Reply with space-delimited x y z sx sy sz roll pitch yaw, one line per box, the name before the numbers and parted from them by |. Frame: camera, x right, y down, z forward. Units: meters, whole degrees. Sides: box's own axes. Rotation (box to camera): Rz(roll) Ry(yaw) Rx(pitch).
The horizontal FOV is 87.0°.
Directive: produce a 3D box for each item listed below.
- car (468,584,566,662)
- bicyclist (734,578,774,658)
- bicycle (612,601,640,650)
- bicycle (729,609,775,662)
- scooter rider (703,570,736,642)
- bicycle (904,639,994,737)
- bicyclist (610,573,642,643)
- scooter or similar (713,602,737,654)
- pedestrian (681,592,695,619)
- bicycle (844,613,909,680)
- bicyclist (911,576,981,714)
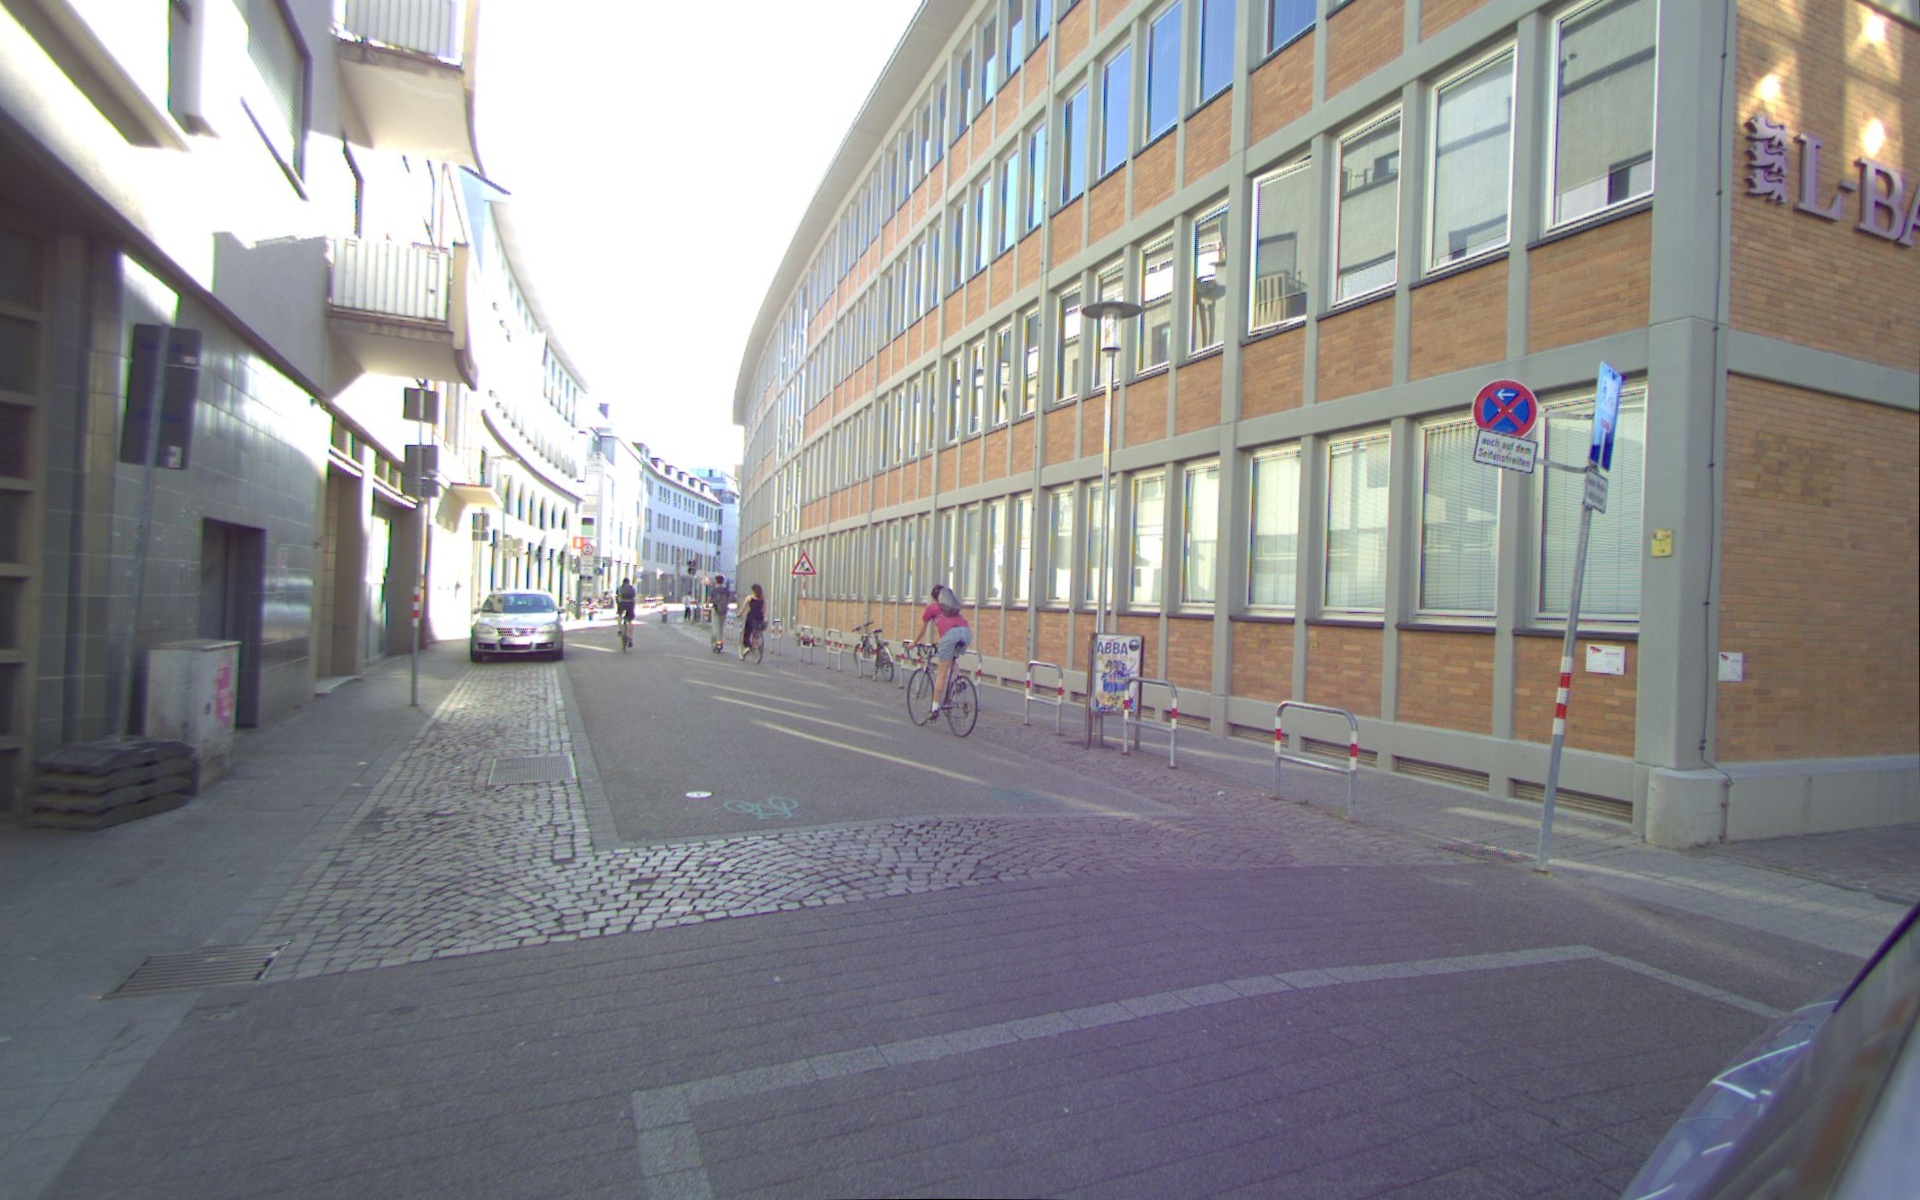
car | -9.309 0.416 21.448 1.734 1.489 3.821 0 1 -22
bicyclist | -4.552 0.394 22.337 0.607 1.688 0.825 5 -2 -23
bicycle | -7.787 0.585 23.548 0.562 1.064 1.840 2 0 -19
bicycle | -4.616 0.758 22.400 0.579 1.065 1.804 4 -1 -23
scooter rider | -6.032 0.143 25.338 0.635 1.748 0.703 2 1 -22
bicycle | -0.153 0.968 11.544 0.427 0.969 1.594 2 0 -23
bicyclist | -7.790 0.176 23.578 0.636 1.578 1.112 2 0 -19
scooter or similar | -5.859 0.685 25.203 0.330 1.201 1.282 4 0 -22
pedestrian | -14.737 0.306 54.911 0.645 1.459 0.597 2 -1 -20
bicycle | -1.598 0.849 19.058 0.625 1.130 1.934 2 0 -23
bicyclist | -0.170 0.496 11.635 0.419 1.517 0.877 4 -1 -22
